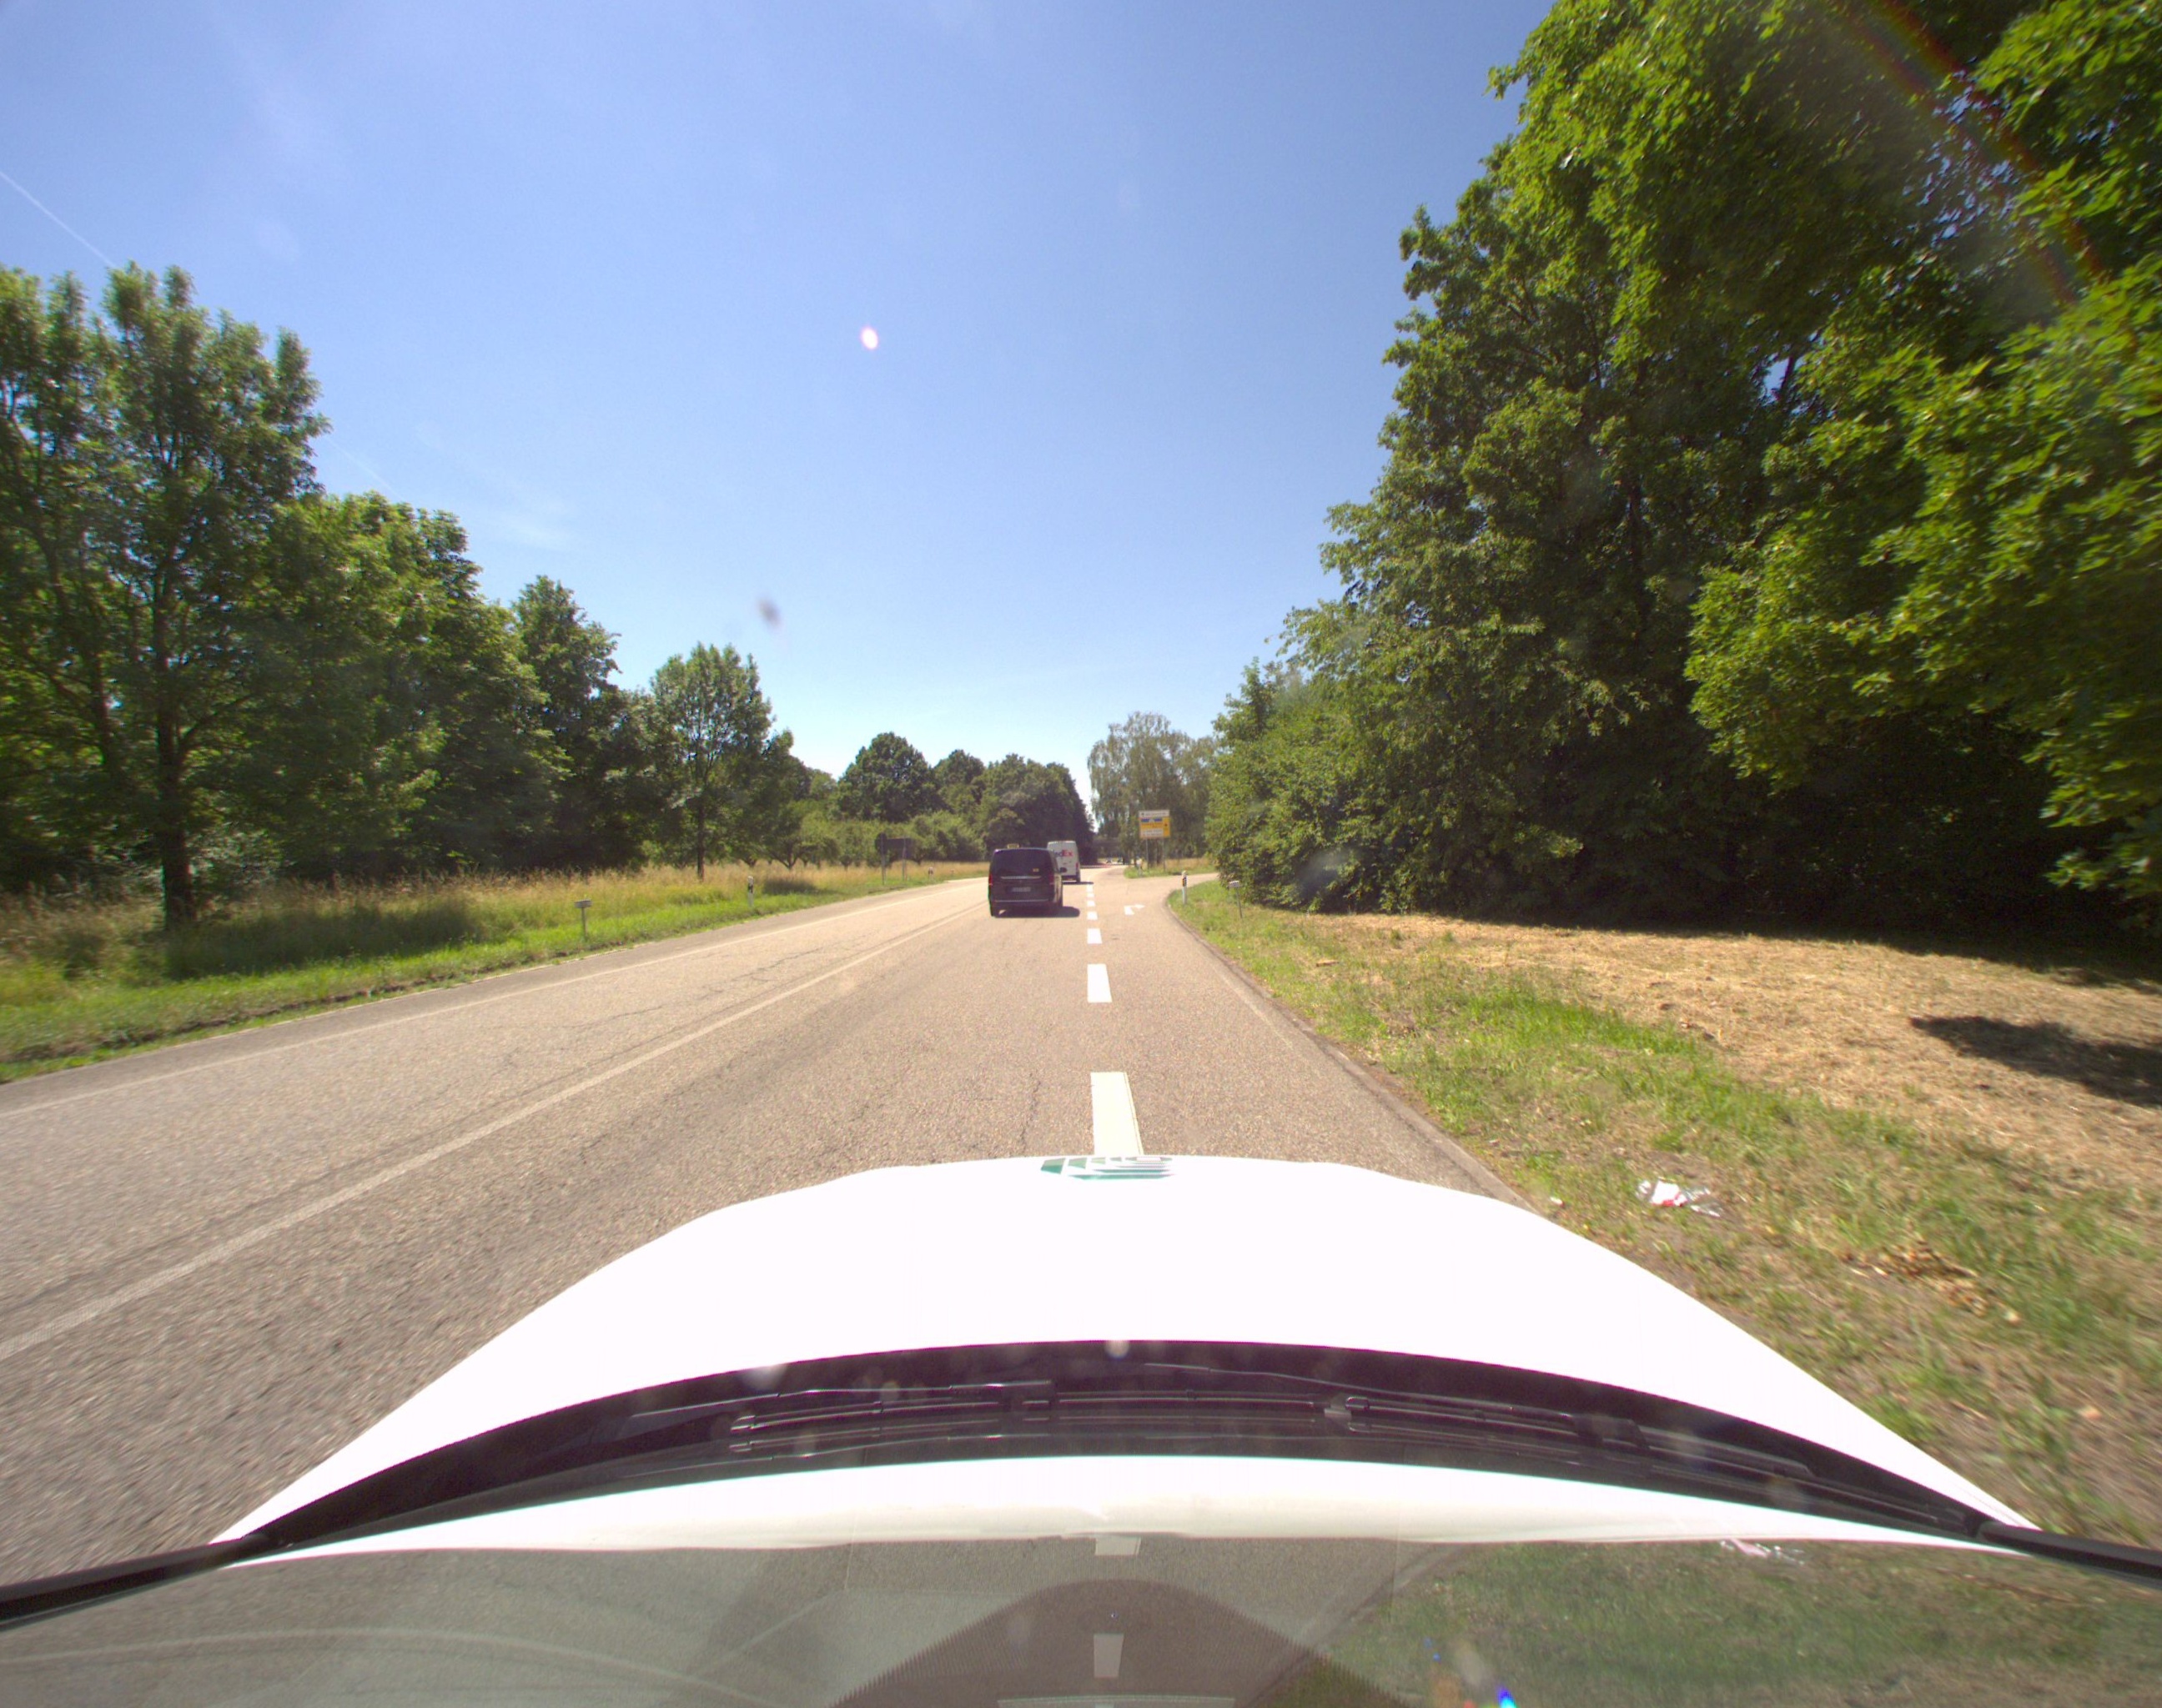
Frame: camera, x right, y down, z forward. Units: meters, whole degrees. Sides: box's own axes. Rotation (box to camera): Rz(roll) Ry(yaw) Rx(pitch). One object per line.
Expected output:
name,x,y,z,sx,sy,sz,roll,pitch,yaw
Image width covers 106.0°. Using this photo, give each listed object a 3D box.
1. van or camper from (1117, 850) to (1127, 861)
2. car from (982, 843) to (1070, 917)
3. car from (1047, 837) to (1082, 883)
van or camper,11.377,0.399,225.502,2.623,2.929,5.205,0,-1,0
car,-1.483,0.701,23.924,1.985,1.952,5.008,0,0,3
car,-0.987,0.369,49.967,2.072,2.702,4.664,0,0,-1
